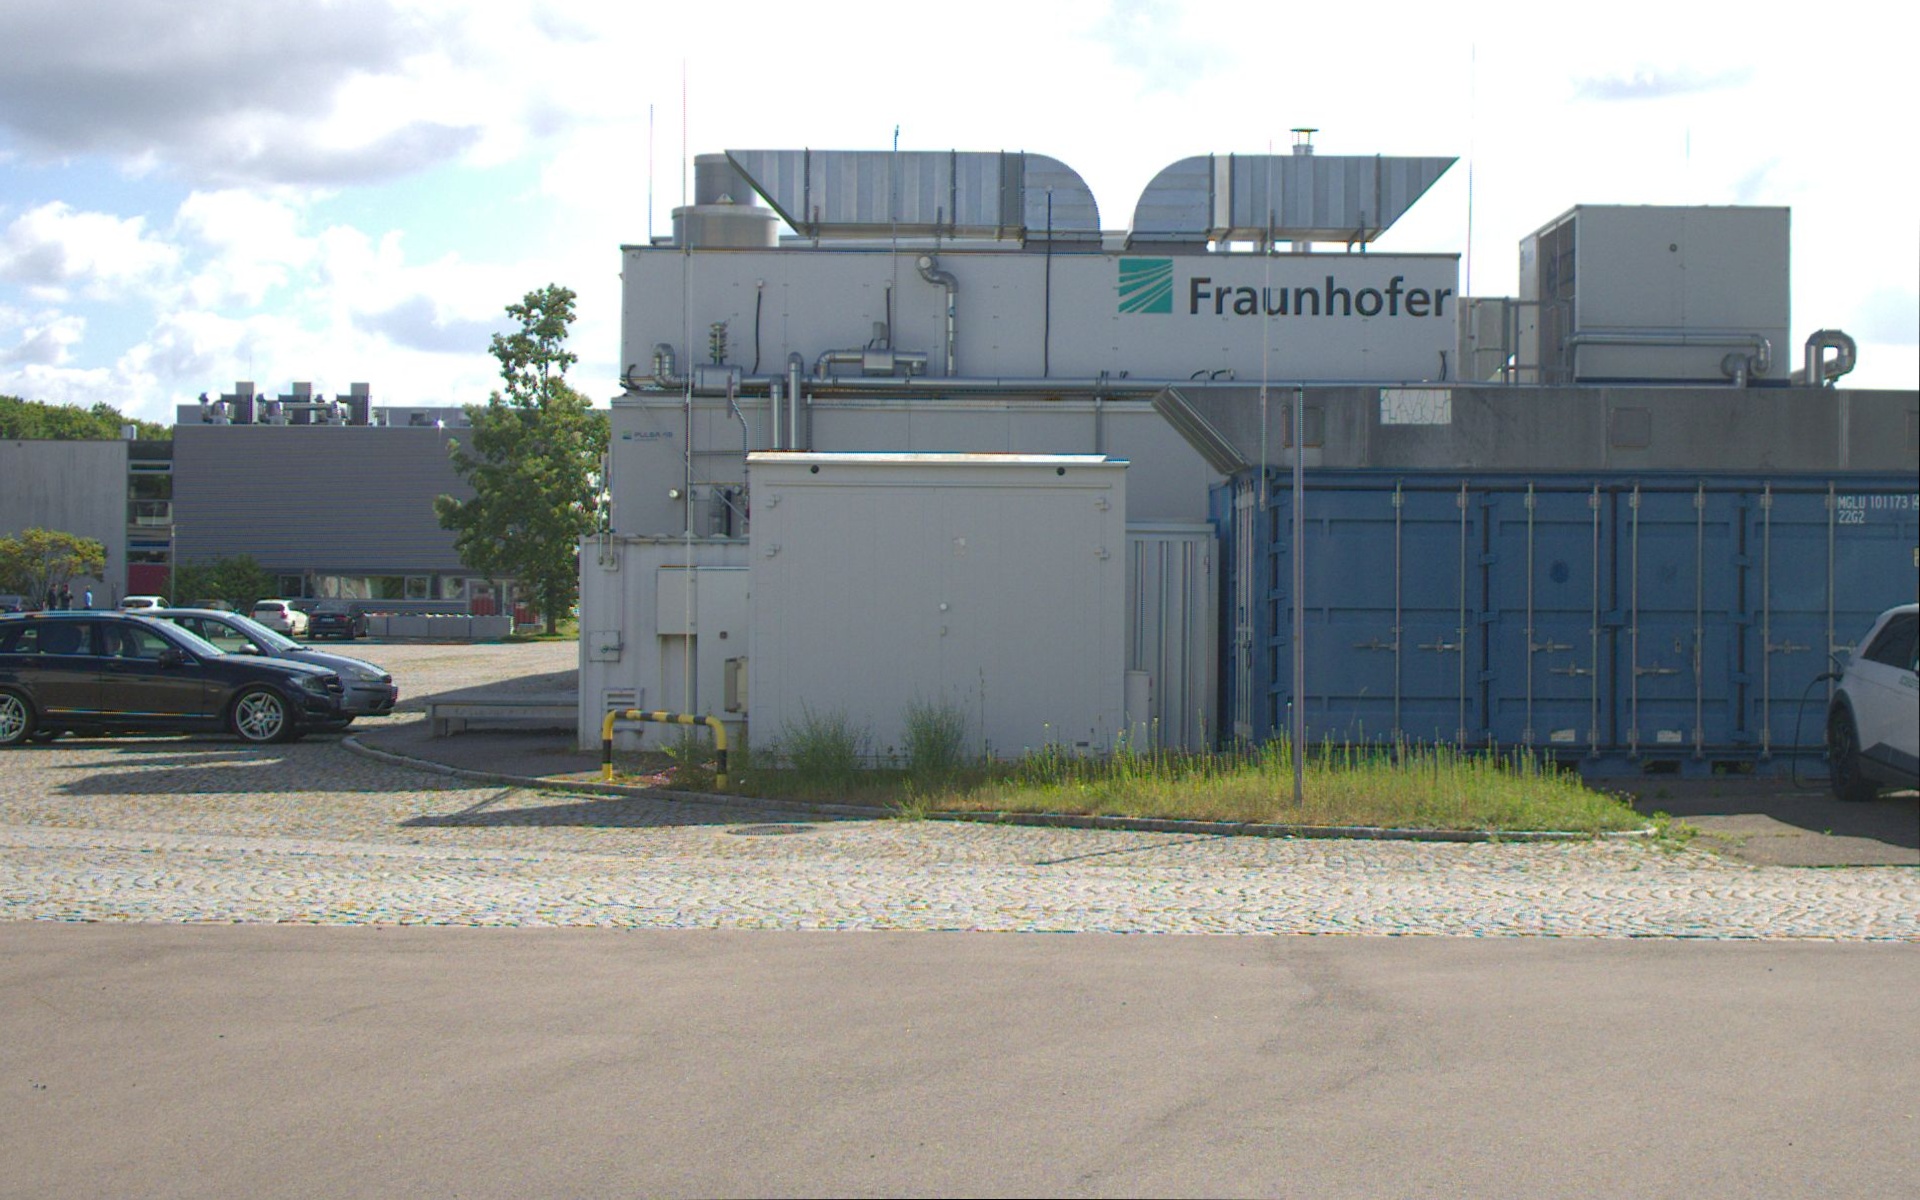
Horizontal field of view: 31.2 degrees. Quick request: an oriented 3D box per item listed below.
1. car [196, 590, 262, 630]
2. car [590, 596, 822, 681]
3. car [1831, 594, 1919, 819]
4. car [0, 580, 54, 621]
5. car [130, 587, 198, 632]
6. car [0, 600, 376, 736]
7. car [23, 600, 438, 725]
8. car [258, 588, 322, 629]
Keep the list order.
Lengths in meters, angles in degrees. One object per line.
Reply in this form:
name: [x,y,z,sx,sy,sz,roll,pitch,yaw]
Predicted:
car: [-28.568,0.398,134.473,1.877,1.532,4.036,-1,0,-3]
car: [-4.808,0.742,65.503,4.279,1.564,1.987,0,-2,0]
car: [7.963,0.801,25.206,1.981,1.588,4.341,1,1,-1]
car: [-36.713,0.033,134.349,1.877,1.532,4.036,-1,0,-5]
car: [-31.138,0.381,134.614,1.877,1.684,4.036,-1,0,-3]
car: [-8.850,0.757,37.740,4.529,1.438,1.987,0,-2,0]
car: [-8.644,0.758,40.999,4.529,1.438,1.904,0,-2,0]
car: [-26.242,0.347,134.704,1.877,1.532,4.036,-1,0,-3]
